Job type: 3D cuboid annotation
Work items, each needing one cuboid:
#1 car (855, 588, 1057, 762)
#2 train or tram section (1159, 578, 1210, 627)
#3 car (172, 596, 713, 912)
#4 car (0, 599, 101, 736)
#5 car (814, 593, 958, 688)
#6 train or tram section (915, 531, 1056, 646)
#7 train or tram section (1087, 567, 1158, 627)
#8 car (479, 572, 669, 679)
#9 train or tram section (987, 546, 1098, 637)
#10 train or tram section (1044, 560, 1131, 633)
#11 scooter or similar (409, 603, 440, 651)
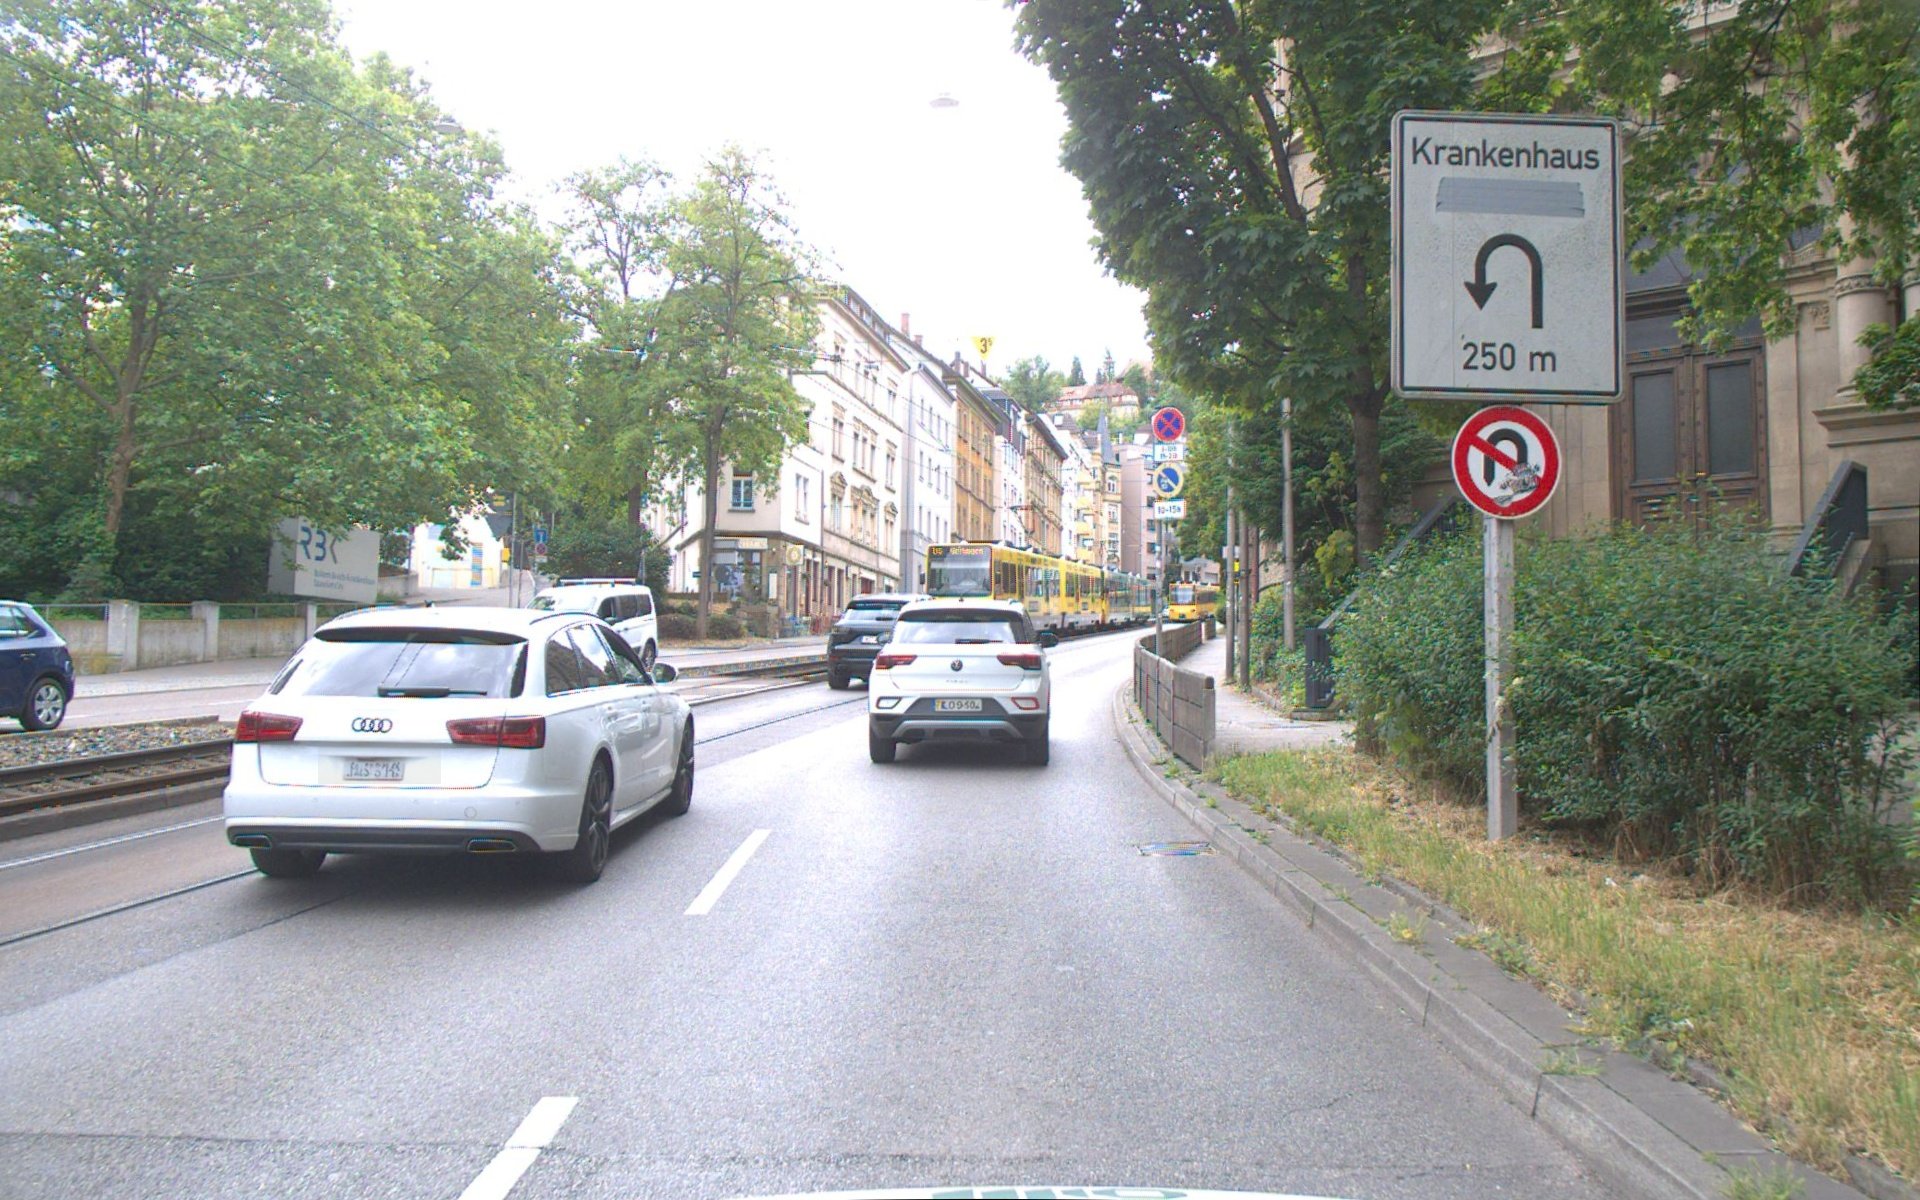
[{"bbox_3d":[0.069,0.695,17.105,1.839,1.582,4.001,0,0,3],"label":"car"},{"bbox_3d":[21.058,0.227,154.065,2.952,4.288,18.874,0,0,13],"label":"train or tram section"},{"bbox_3d":[-2.798,0.725,10.150,1.840,1.480,4.617,0,0,0],"label":"car"},{"bbox_3d":[-10.913,0.709,16.895,1.728,1.432,4.086,0,0,8],"label":"car"},{"bbox_3d":[-1.260,0.686,30.187,1.995,1.599,4.361,0,0,6],"label":"car"},{"bbox_3d":[1.276,-0.347,62.824,2.821,3.791,14.868,2,0,11],"label":"train or tram section"},{"bbox_3d":[11.615,-0.136,116.201,2.815,3.791,18.771,2,0,12],"label":"train or tram section"},{"bbox_3d":[-7.650,0.461,33.335,1.906,1.980,5.007,0,0,10],"label":"car"},{"bbox_3d":[4.266,-0.322,79.325,2.815,3.791,18.718,2,0,10],"label":"train or tram section"},{"bbox_3d":[7.762,-0.139,97.730,2.815,3.791,18.772,2,0,11],"label":"train or tram section"},{"bbox_3d":[-14.425,0.726,44.590,0.480,1.240,1.638,2,-1,-9],"label":"scooter or similar"}]
